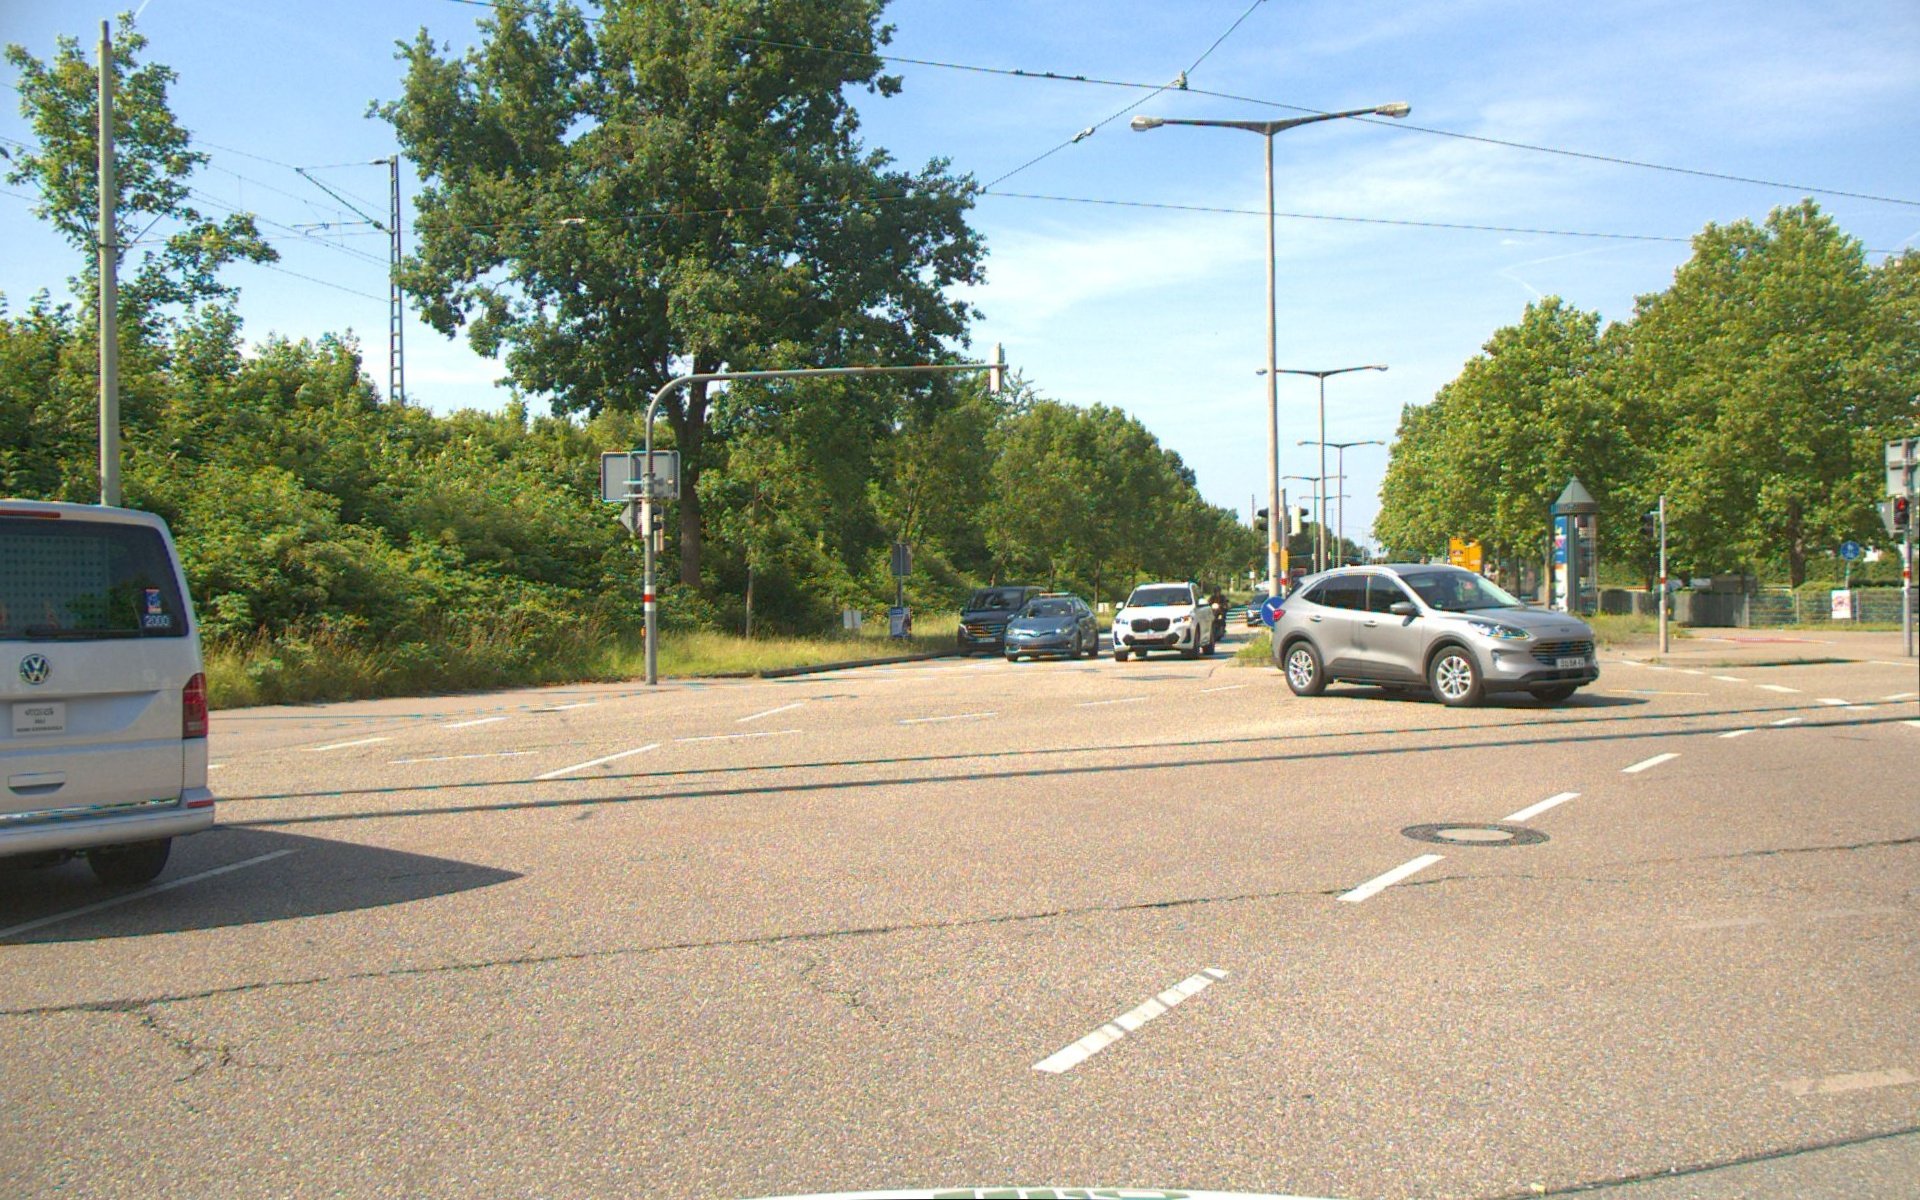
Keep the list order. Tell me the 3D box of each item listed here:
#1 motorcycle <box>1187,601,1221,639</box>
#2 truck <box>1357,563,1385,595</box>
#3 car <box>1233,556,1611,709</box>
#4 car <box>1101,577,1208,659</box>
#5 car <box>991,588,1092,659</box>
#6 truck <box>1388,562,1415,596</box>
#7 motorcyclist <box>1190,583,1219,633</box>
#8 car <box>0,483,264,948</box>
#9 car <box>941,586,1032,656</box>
[{"bbox_3d":[7.493,0.605,50.643,0.719,1.101,2.045,-3,-1,16],"label":"motorcycle"},{"bbox_3d":[48.594,-2.435,195.441,2.781,3.640,8.725,-1,0,16],"label":"truck"},{"bbox_3d":[5.642,0.363,20.831,1.968,1.679,4.613,-1,0,-27],"label":"car"},{"bbox_3d":[4.478,0.371,37.462,1.869,1.718,4.631,-1,0,13],"label":"car"},{"bbox_3d":[2.012,0.532,39.729,1.810,1.588,4.004,-1,0,11],"label":"car"},{"bbox_3d":[60.078,-2.824,224.779,3.124,4.431,13.155,-1,0,16],"label":"truck"},{"bbox_3d":[7.482,0.240,50.653,0.719,1.472,0.873,-3,-1,16],"label":"motorcyclist"},{"bbox_3d":[-5.876,0.501,8.923,4.930,2.006,1.937,0,0,41],"label":"car"},{"bbox_3d":[0.792,0.546,46.233,1.810,1.846,4.004,-1,0,11],"label":"car"}]
